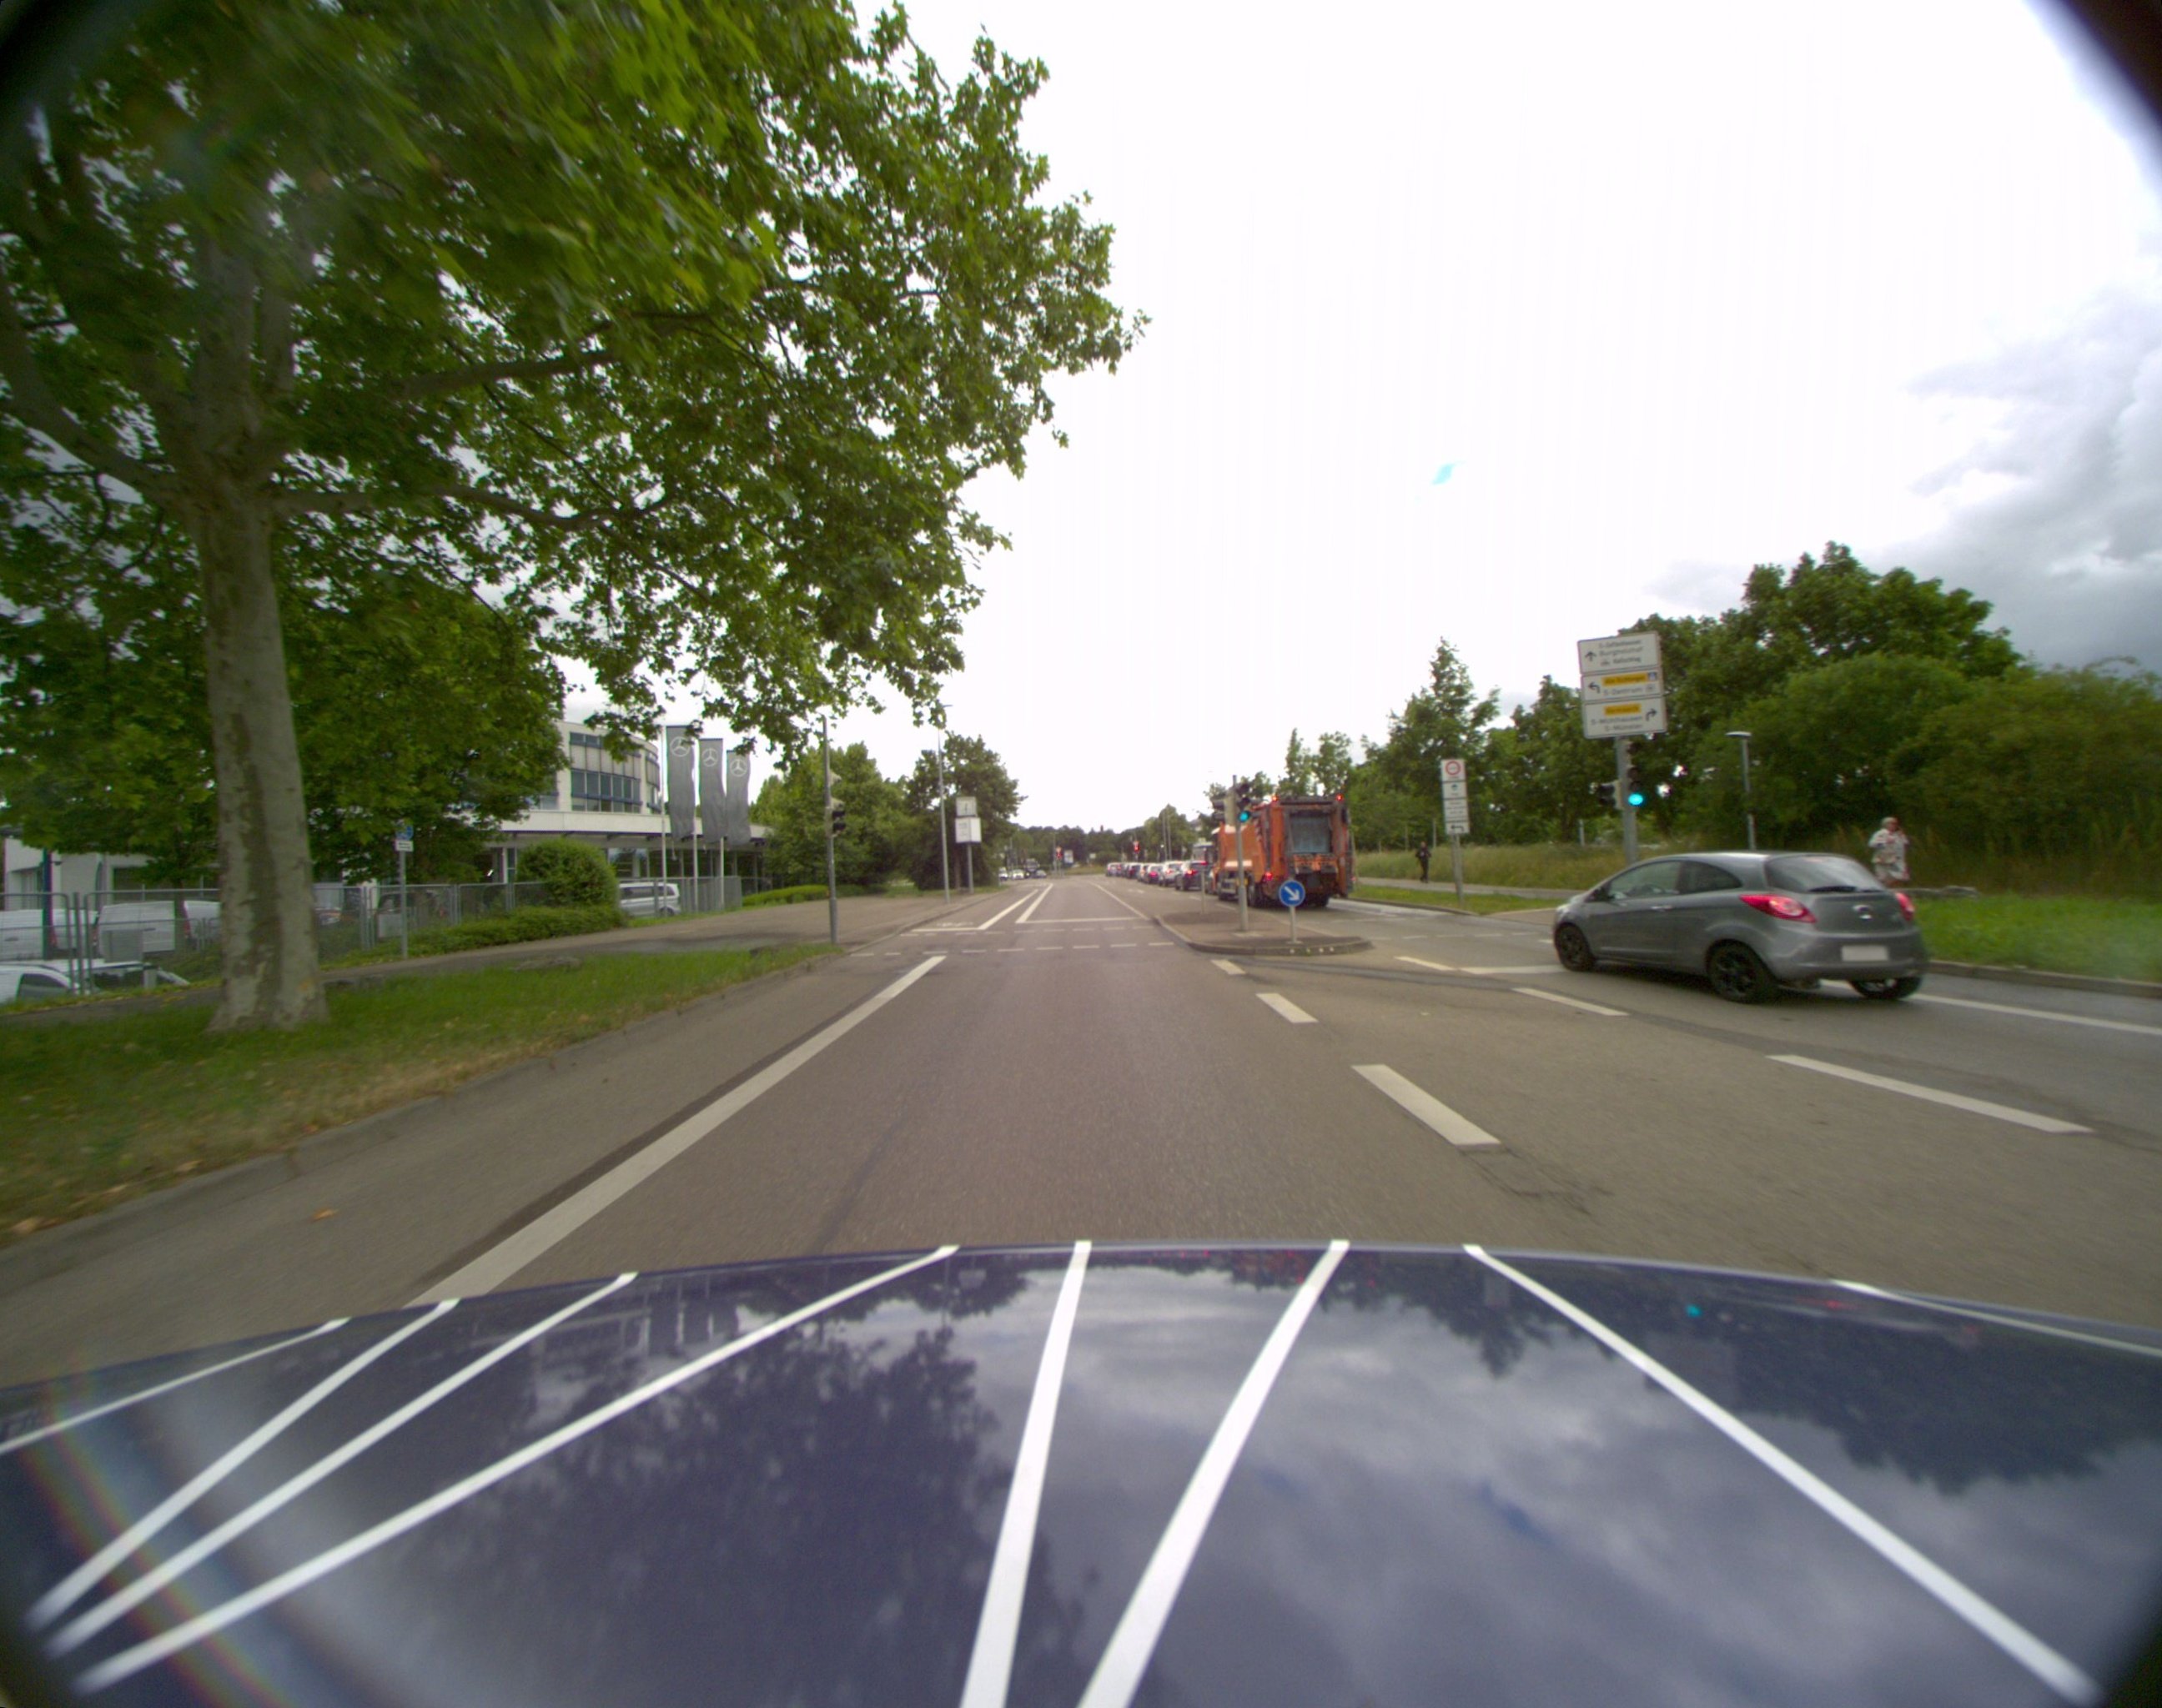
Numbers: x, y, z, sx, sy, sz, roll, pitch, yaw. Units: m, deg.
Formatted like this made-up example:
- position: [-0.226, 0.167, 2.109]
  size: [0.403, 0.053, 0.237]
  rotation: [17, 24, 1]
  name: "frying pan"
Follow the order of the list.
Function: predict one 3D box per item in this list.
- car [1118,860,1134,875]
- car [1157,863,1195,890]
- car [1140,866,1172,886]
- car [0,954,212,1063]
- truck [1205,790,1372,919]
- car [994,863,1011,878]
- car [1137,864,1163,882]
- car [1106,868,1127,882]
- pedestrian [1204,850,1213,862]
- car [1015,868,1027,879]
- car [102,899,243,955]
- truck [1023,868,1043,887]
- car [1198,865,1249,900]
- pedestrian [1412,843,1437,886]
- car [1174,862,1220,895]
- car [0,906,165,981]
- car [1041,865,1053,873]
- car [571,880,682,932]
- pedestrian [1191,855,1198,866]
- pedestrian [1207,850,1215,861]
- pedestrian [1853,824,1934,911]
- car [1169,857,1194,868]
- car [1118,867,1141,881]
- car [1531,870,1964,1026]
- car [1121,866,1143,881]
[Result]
- position: [5.004, 1.504, 84.770]
  size: [1.432, 1.517, 2.774]
  rotation: [-3, -1, -4]
  name: "car"
- position: [6.078, 1.410, 48.927]
  size: [1.735, 1.576, 4.223]
  rotation: [-3, -1, -2]
  name: "car"
- position: [5.479, 1.596, 55.890]
  size: [1.644, 1.382, 4.885]
  rotation: [-3, -1, -2]
  name: "car"
- position: [-19.749, 2.937, 14.377]
  size: [3.999, 1.608, 1.999]
  rotation: [-3, 0, -6]
  name: "car"
- position: [6.608, 0.105, 26.215]
  size: [2.713, 3.466, 9.995]
  rotation: [-3, -1, -1]
  name: "truck"
- position: [-15.183, 3.151, 146.661]
  size: [2.228, 2.642, 5.956]
  rotation: [-4, -1, -13]
  name: "car"
- position: [5.607, 1.554, 62.355]
  size: [1.644, 1.382, 3.762]
  rotation: [-3, -1, -2]
  name: "car"
- position: [4.249, 2.458, 91.043]
  size: [1.832, 1.526, 4.218]
  rotation: [-3, -1, -6]
  name: "car"
- position: [14.802, 0.282, 88.261]
  size: [0.774, 1.322, 0.550]
  rotation: [-3, -1, -10]
  name: "pedestrian"
- position: [-11.702, 3.805, 147.999]
  size: [2.120, 1.978, 4.987]
  rotation: [-5, -1, -4]
  name: "car"
- position: [-26.356, 2.062, 22.198]
  size: [1.629, 1.341, 3.588]
  rotation: [-3, -1, -33]
  name: "car"
- position: [-9.824, 4.808, 154.965]
  size: [3.075, 3.496, 5.956]
  rotation: [-4, -1, -13]
  name: "truck"
- position: [6.473, 1.277, 34.861]
  size: [1.437, 1.449, 3.895]
  rotation: [-3, -1, -2]
  name: "car"
- position: [15.265, 0.467, 33.794]
  size: [0.723, 1.824, 0.677]
  rotation: [-3, 0, -1]
  name: "pedestrian"
- position: [6.121, 1.278, 40.608]
  size: [1.644, 1.576, 4.060]
  rotation: [-3, -1, -2]
  name: "car"
- position: [-28.465, 2.459, 21.419]
  size: [1.628, 1.746, 3.591]
  rotation: [-3, -1, -18]
  name: "car"
- position: [-6.330, 2.765, 140.996]
  size: [1.636, 1.433, 3.863]
  rotation: [-3, -1, -12]
  name: "car"
- position: [-20.680, 2.315, 34.623]
  size: [4.007, 2.013, 1.995]
  rotation: [-2, -1, -40]
  name: "car"
- position: [13.720, 0.805, 91.956]
  size: [0.550, 1.355, 0.774]
  rotation: [-3, -1, -9]
  name: "pedestrian"
- position: [14.889, 0.132, 87.029]
  size: [0.774, 1.219, 0.550]
  rotation: [-3, -1, -10]
  name: "pedestrian"
- position: [16.075, 0.262, 15.050]
  size: [0.746, 1.642, 0.753]
  rotation: [-2, 0, 0]
  name: "pedestrian"
- position: [18.696, 1.495, 141.157]
  size: [4.222, 1.769, 1.814]
  rotation: [-3, -1, -8]
  name: "car"
- position: [5.058, 2.099, 79.688]
  size: [1.804, 1.324, 4.380]
  rotation: [-3, -1, -3]
  name: "car"
- position: [6.949, 0.859, 8.505]
  size: [1.551, 1.323, 3.653]
  rotation: [-1, -1, -2]
  name: "car"
- position: [4.850, 1.811, 72.067]
  size: [1.644, 1.324, 4.060]
  rotation: [-3, -1, -2]
  name: "car"
